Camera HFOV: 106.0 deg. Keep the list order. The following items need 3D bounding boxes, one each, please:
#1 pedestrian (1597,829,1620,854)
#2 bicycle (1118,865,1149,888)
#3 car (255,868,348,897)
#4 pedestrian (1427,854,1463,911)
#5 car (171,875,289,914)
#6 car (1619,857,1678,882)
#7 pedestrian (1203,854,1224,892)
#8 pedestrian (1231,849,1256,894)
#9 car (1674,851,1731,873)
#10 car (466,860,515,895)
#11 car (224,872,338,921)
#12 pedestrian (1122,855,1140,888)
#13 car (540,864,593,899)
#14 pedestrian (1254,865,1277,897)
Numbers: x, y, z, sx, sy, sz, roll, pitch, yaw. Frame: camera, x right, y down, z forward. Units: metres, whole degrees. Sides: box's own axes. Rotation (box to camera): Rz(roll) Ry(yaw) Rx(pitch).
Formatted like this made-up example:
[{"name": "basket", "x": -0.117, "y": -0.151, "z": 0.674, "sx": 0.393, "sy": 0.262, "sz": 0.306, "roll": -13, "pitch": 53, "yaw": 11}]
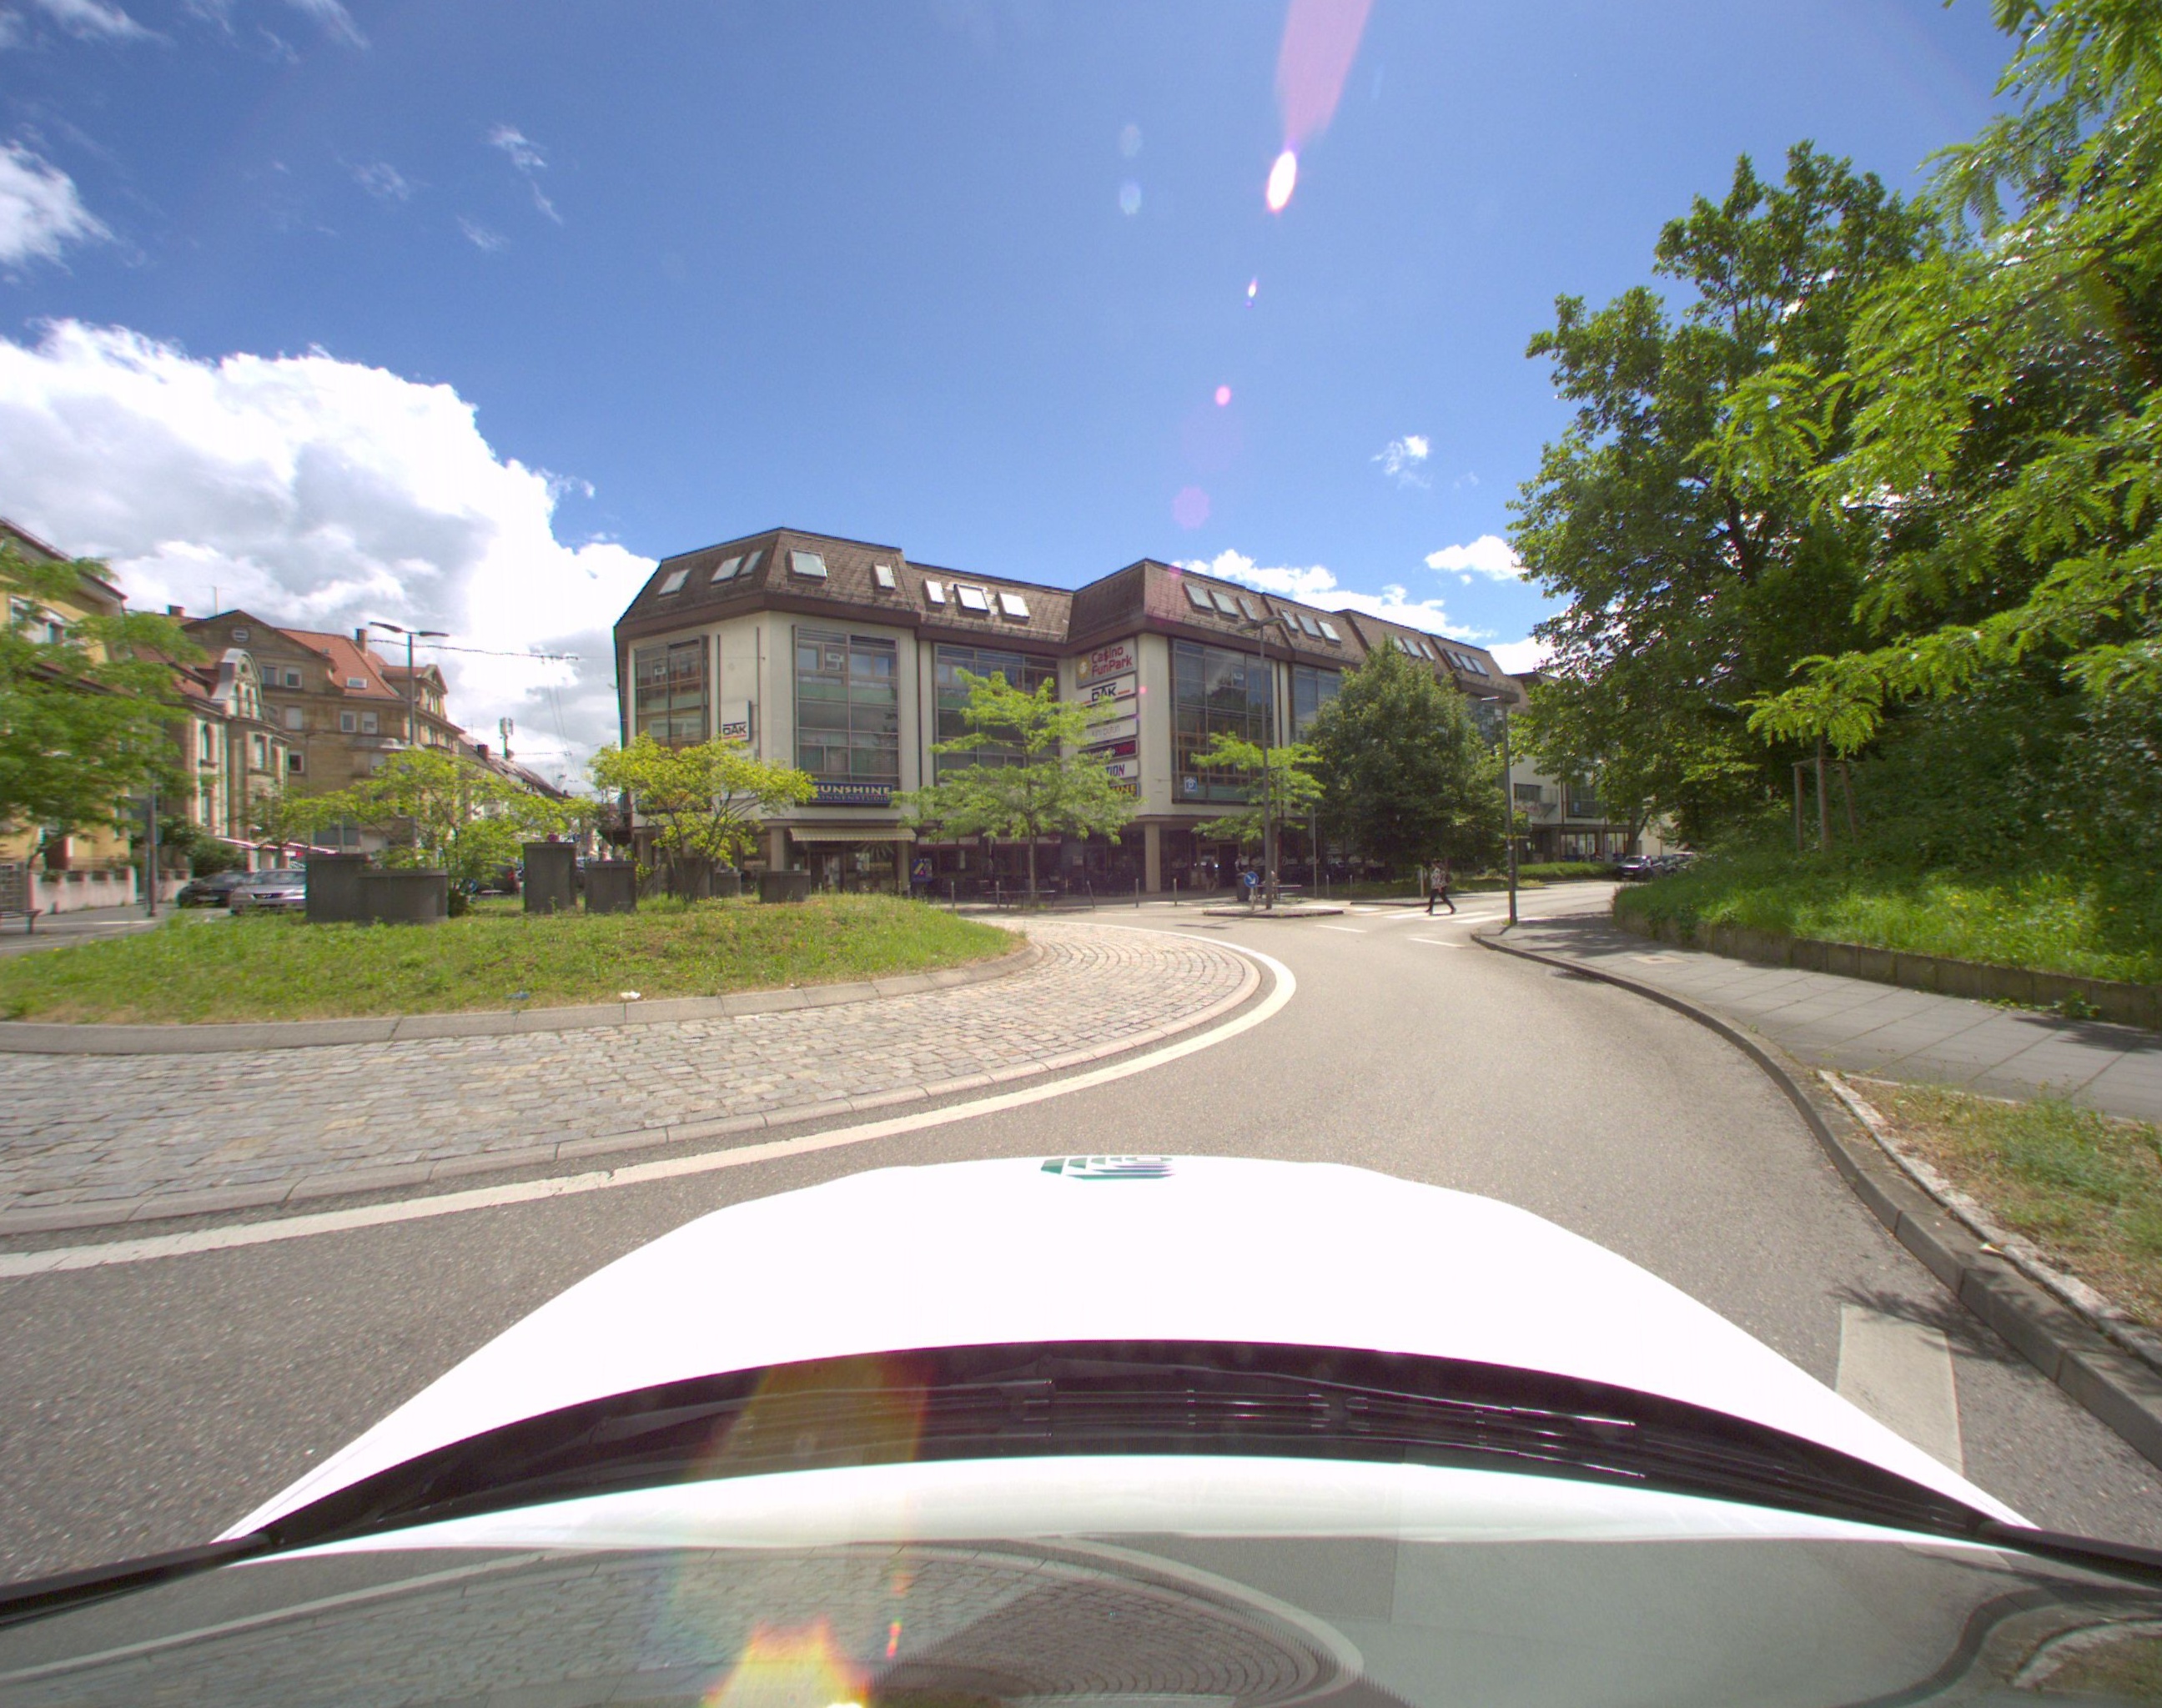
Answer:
[{"name": "pedestrian", "x": 43.888, "y": -1.019, "z": 67.743, "sx": 1.094, "sy": 2.014, "sz": 1.333, "roll": 2, "pitch": -2, "yaw": -40}, {"name": "bicycle", "x": 2.655, "y": 1.133, "z": 41.331, "sx": 1.531, "sy": 1.168, "sz": 0.496, "roll": 0, "pitch": -2, "yaw": 5}, {"name": "car", "x": -52.680, "y": 1.902, "z": 55.129, "sx": 4.458, "sy": 1.776, "sz": 1.975, "roll": 0, "pitch": -1, "yaw": -44}, {"name": "pedestrian", "x": 10.252, "y": 0.794, "z": 22.959, "sx": 0.759, "sy": 1.554, "sz": 0.781, "roll": 0, "pitch": -1, "yaw": 8}, {"name": "car", "x": -32.124, "y": 1.484, "z": 30.911, "sx": 1.719, "sy": 1.245, "sz": 4.373, "roll": 0, "pitch": 0, "yaw": -27}, {"name": "car", "x": 35.745, "y": 0.971, "z": 51.255, "sx": 4.609, "sy": 1.508, "sz": 1.976, "roll": 0, "pitch": -1, "yaw": -41}, {"name": "pedestrian", "x": 5.857, "y": 0.833, "z": 35.999, "sx": 0.609, "sy": 1.674, "sz": 0.702, "roll": -1, "pitch": -1, "yaw": 38}, {"name": "pedestrian", "x": 6.775, "y": 0.738, "z": 34.040, "sx": 0.620, "sy": 1.818, "sz": 0.690, "roll": -5, "pitch": 2, "yaw": -34}, {"name": "car", "x": 44.799, "y": 0.564, "z": 58.670, "sx": 4.604, "sy": 1.508, "sz": 1.978, "roll": 0, "pitch": -1, "yaw": -36}, {"name": "car", "x": -30.564, "y": 1.205, "z": 42.263, "sx": 1.837, "sy": 1.707, "sz": 4.393, "roll": 1, "pitch": -2, "yaw": -34}, {"name": "car", "x": -25.124, "y": 1.279, "z": 25.719, "sx": 1.721, "sy": 1.354, "sz": 3.960, "roll": 0, "pitch": 0, "yaw": -32}, {"name": "pedestrian", "x": 2.542, "y": 0.895, "z": 41.618, "sx": 0.701, "sy": 1.674, "sz": 0.610, "roll": 0, "pitch": -1, "yaw": -39}, {"name": "car", "x": -27.925, "y": 1.478, "z": 44.284, "sx": 1.833, "sy": 1.731, "sz": 4.198, "roll": -2, "pitch": 0, "yaw": -25}, {"name": "pedestrian", "x": 7.504, "y": 1.092, "z": 33.155, "sx": 0.618, "sy": 1.285, "sz": 0.692, "roll": 0, "pitch": -1, "yaw": -26}]
